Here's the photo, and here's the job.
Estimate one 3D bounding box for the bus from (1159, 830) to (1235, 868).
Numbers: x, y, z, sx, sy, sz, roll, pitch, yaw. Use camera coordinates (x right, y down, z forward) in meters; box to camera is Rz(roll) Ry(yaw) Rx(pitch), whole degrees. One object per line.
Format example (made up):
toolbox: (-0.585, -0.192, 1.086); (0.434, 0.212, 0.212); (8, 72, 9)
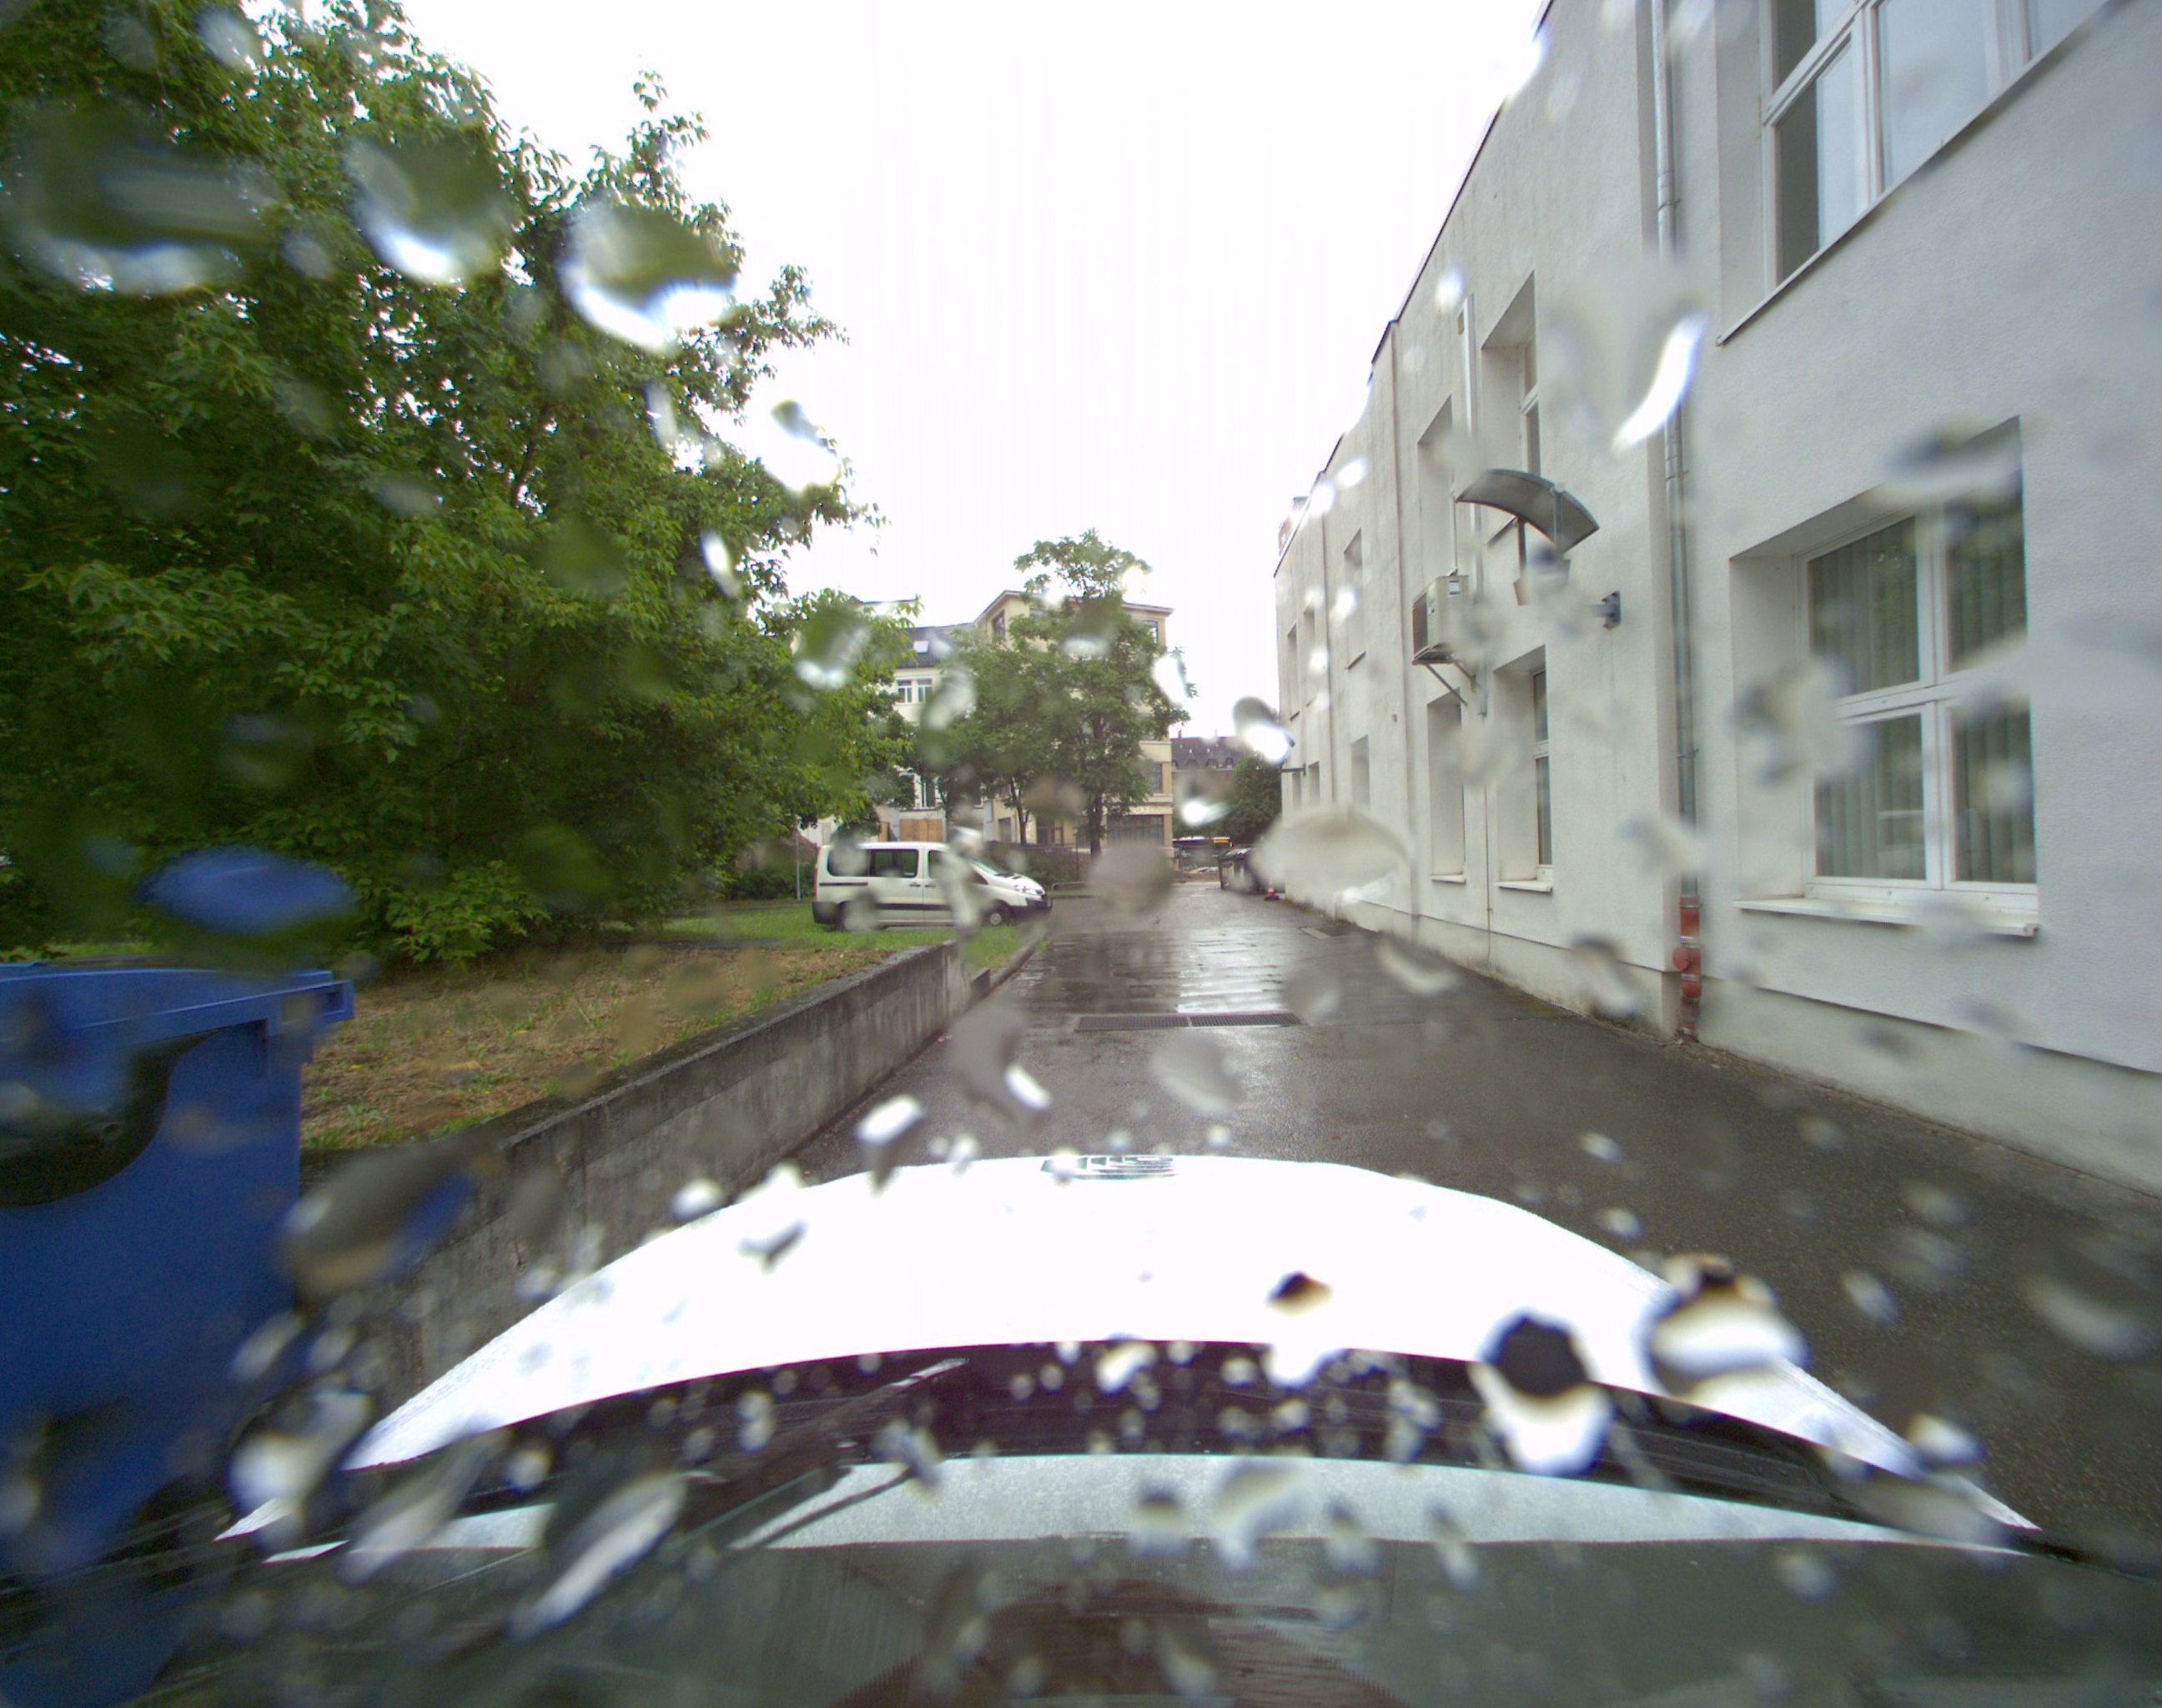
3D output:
bus: (13.568, -0.528, 96.844); (2.820, 3.874, 11.956); (0, -2, -25)

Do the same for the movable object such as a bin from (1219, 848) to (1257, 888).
movable object such as a bin: (5.872, 0.539, 30.503); (1.209, 1.437, 1.260); (-2, -2, 3)

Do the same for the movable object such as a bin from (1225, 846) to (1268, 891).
movable object such as a bin: (5.568, 0.508, 27.502); (1.209, 1.437, 1.295); (-2, -2, 3)

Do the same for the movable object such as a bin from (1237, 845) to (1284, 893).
movable object such as a bin: (5.668, 0.492, 25.799); (1.210, 1.437, 1.236); (-2, -2, 3)

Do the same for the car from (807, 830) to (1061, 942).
car: (-2.950, 0.632, 17.063); (4.757, 2.013, 2.003); (-3, 0, 5)

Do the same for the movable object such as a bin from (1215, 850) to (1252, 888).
movable object such as a bin: (5.963, 0.590, 31.879); (1.209, 1.437, 1.260); (-2, -2, 3)

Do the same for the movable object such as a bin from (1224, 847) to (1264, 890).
movable object such as a bin: (5.822, 0.523, 29.125); (1.210, 1.468, 1.236); (-2, -2, 3)

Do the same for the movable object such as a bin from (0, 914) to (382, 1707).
movable object such as a bin: (-2.411, 0.842, 1.567); (1.215, 1.337, 1.008); (-2, 0, 5)
